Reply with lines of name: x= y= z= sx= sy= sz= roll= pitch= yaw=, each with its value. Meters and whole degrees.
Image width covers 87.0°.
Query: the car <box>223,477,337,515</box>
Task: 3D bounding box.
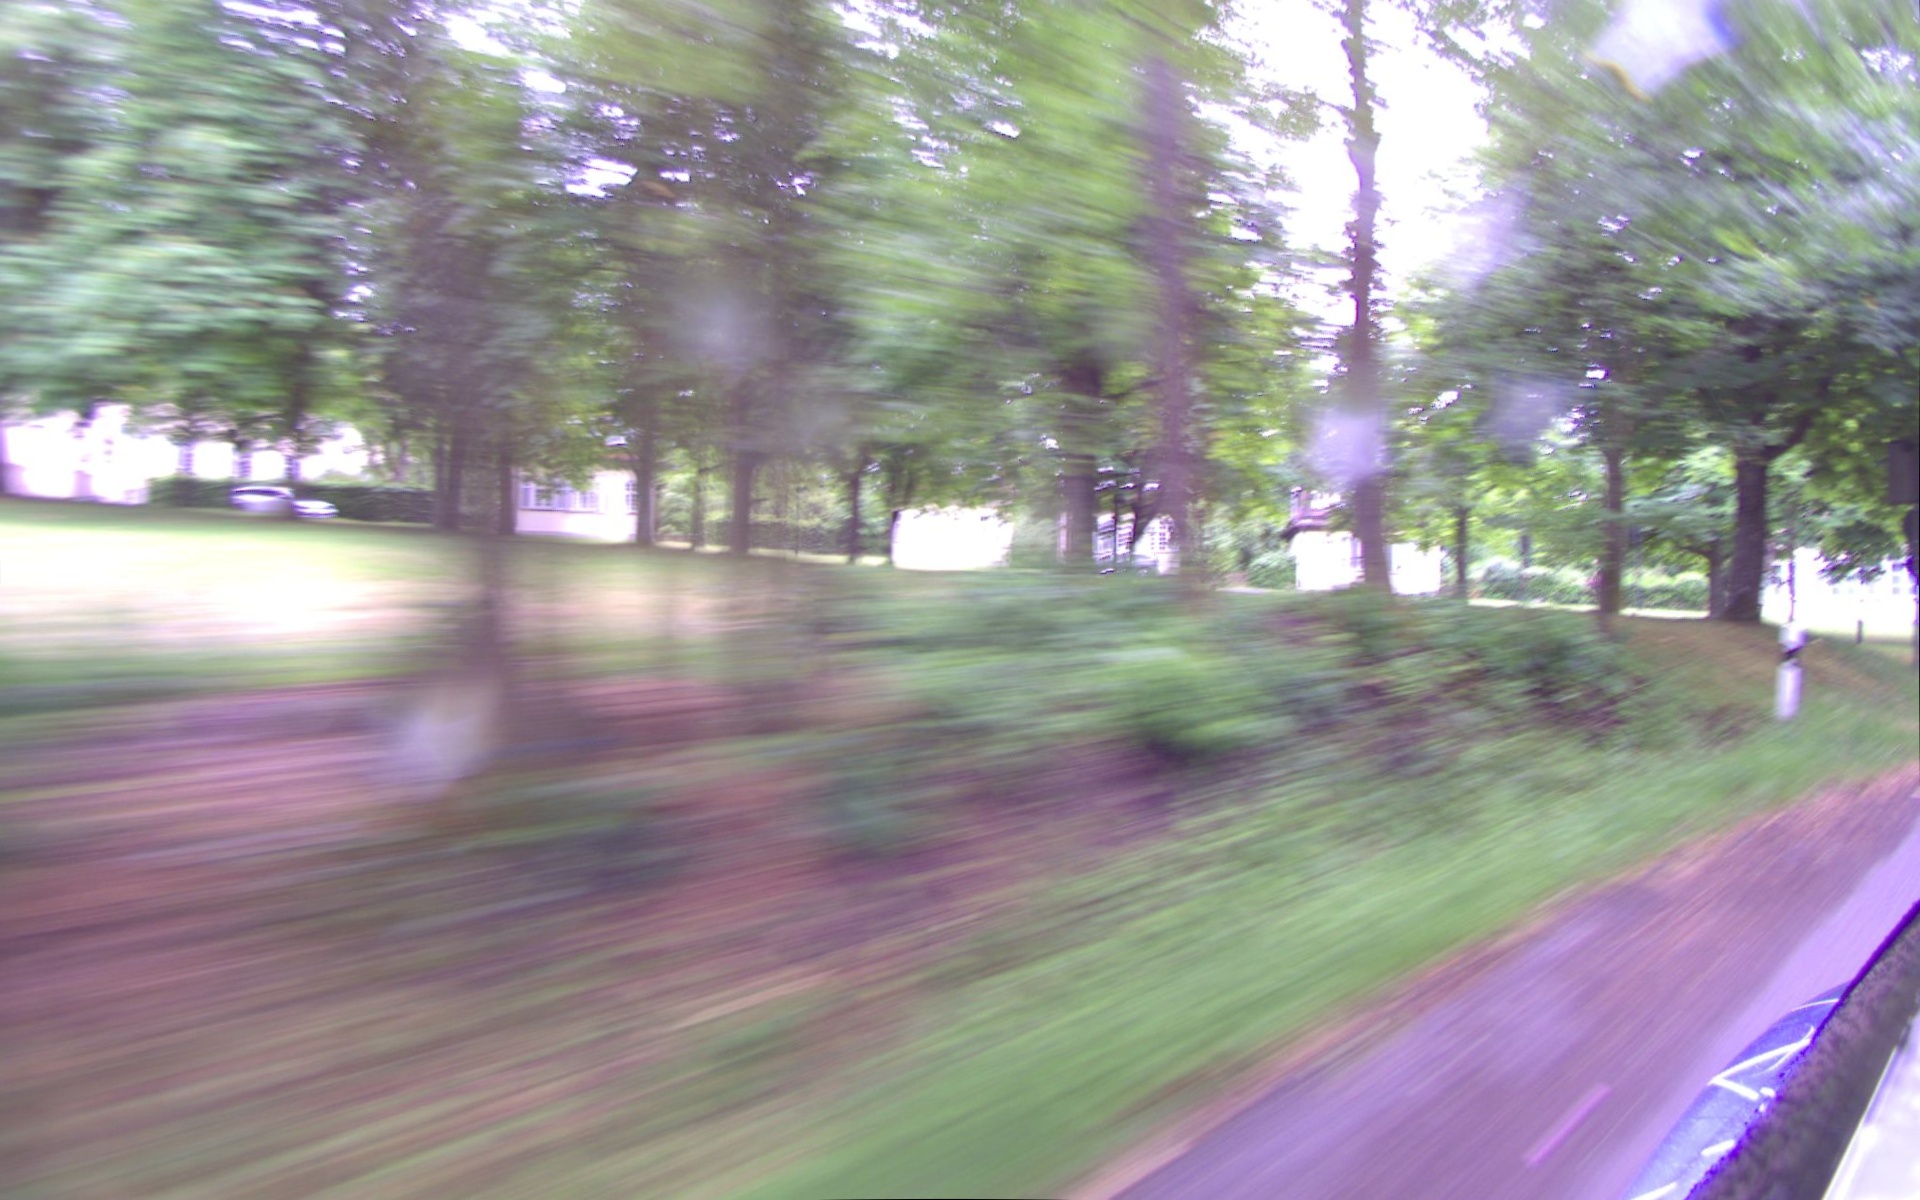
car: x=-32.231 y=-4.919 z=48.025 sx=4.222 sy=1.445 sz=1.997 roll=4 pitch=3 yaw=7

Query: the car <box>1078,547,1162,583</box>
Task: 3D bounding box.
car: x=9.090 y=-2.000 z=57.775 sx=4.484 sy=1.859 sz=1.998 roll=2 pitch=0 yaw=4
